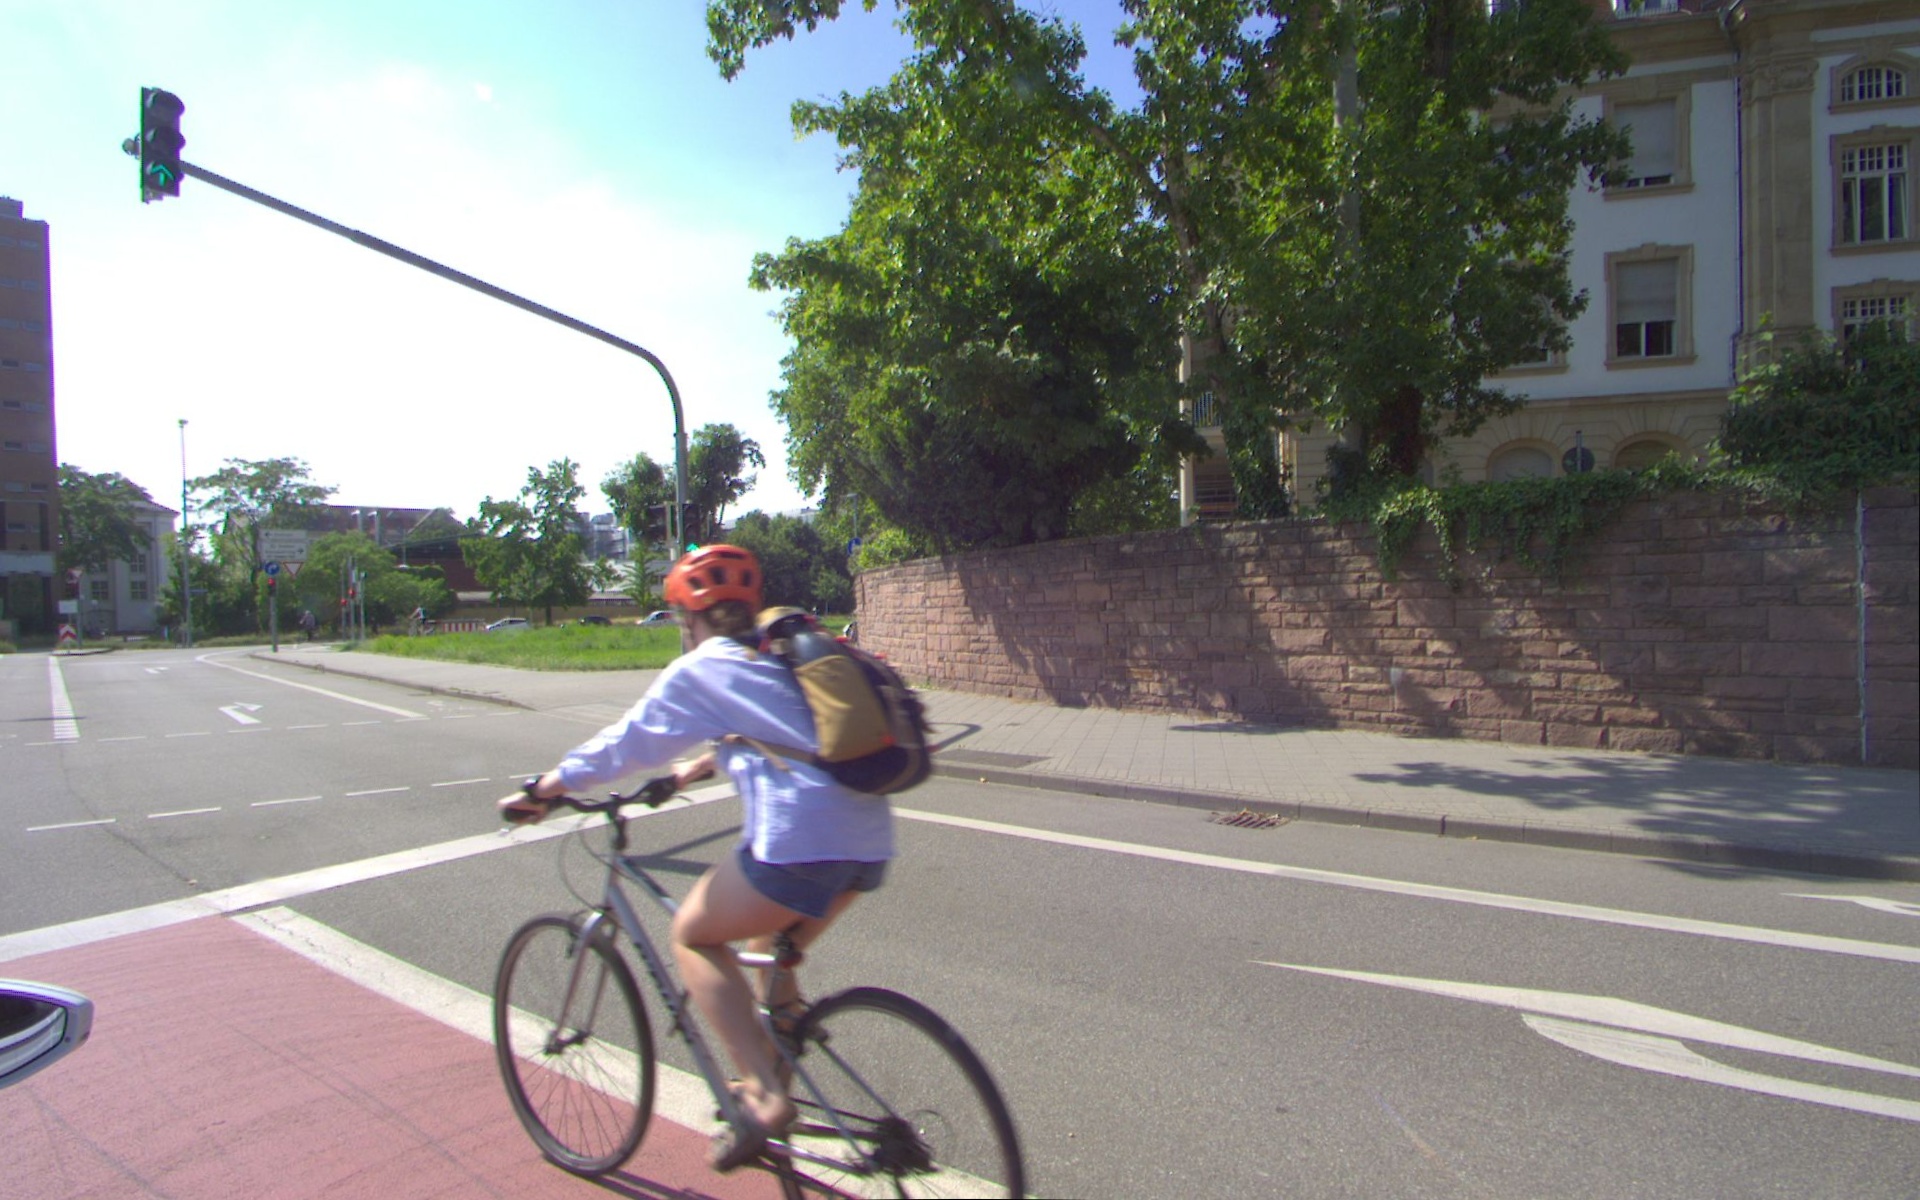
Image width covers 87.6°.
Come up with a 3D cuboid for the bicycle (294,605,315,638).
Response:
[{"bbox_3d":[-36.822,1.187,56.237,0.673,1.789,1.794,-2,1,-42],"label":"bicycle"}]

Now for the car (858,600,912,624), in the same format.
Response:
[{"bbox_3d":[-5.872,0.959,78.791,3.963,1.526,1.736,6,-4,-42],"label":"car"}]

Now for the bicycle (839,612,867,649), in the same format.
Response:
[{"bbox_3d":[-3.371,0.942,31.437,0.344,1.138,1.428,-2,1,-28],"label":"bicycle"}]

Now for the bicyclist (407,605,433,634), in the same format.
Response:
[{"bbox_3d":[-28.236,1.012,52.368,1.120,1.489,0.496,0,-1,5],"label":"bicyclist"}]

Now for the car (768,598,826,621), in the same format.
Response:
[{"bbox_3d":[-12.016,0.688,73.972,3.958,1.528,1.736,-2,1,-43],"label":"car"}]

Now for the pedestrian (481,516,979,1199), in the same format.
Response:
[{"bbox_3d":[-0.535,0.605,2.305,0.999,1.485,0.582,-1,0,32],"label":"pedestrian"}]

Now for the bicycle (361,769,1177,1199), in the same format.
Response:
[{"bbox_3d":[-0.557,0.978,2.320,1.999,0.943,0.595,-1,-1,32],"label":"bicycle"}]

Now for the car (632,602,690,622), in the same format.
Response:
[{"bbox_3d":[-25.223,1.019,84.532,4.279,1.590,1.892,-1,1,-43],"label":"car"}]

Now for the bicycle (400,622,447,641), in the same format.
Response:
[{"bbox_3d":[-28.049,1.628,52.401,2.127,0.928,0.674,-1,1,5],"label":"bicycle"}]

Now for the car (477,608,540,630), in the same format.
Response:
[{"bbox_3d":[-34.586,1.456,76.725,3.958,1.483,1.982,-1,-1,-43],"label":"car"}]

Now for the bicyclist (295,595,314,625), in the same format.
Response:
[{"bbox_3d":[-36.685,0.572,56.040,0.673,1.677,0.910,-2,2,-42],"label":"bicyclist"}]

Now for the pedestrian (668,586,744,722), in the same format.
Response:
[{"bbox_3d":[-3.693,0.765,14.579,0.784,1.900,0.650,0,3,29],"label":"pedestrian"}]

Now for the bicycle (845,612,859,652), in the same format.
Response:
[{"bbox_3d":[-3.211,0.947,29.841,0.342,1.138,1.434,-1,1,-8],"label":"bicycle"}]
